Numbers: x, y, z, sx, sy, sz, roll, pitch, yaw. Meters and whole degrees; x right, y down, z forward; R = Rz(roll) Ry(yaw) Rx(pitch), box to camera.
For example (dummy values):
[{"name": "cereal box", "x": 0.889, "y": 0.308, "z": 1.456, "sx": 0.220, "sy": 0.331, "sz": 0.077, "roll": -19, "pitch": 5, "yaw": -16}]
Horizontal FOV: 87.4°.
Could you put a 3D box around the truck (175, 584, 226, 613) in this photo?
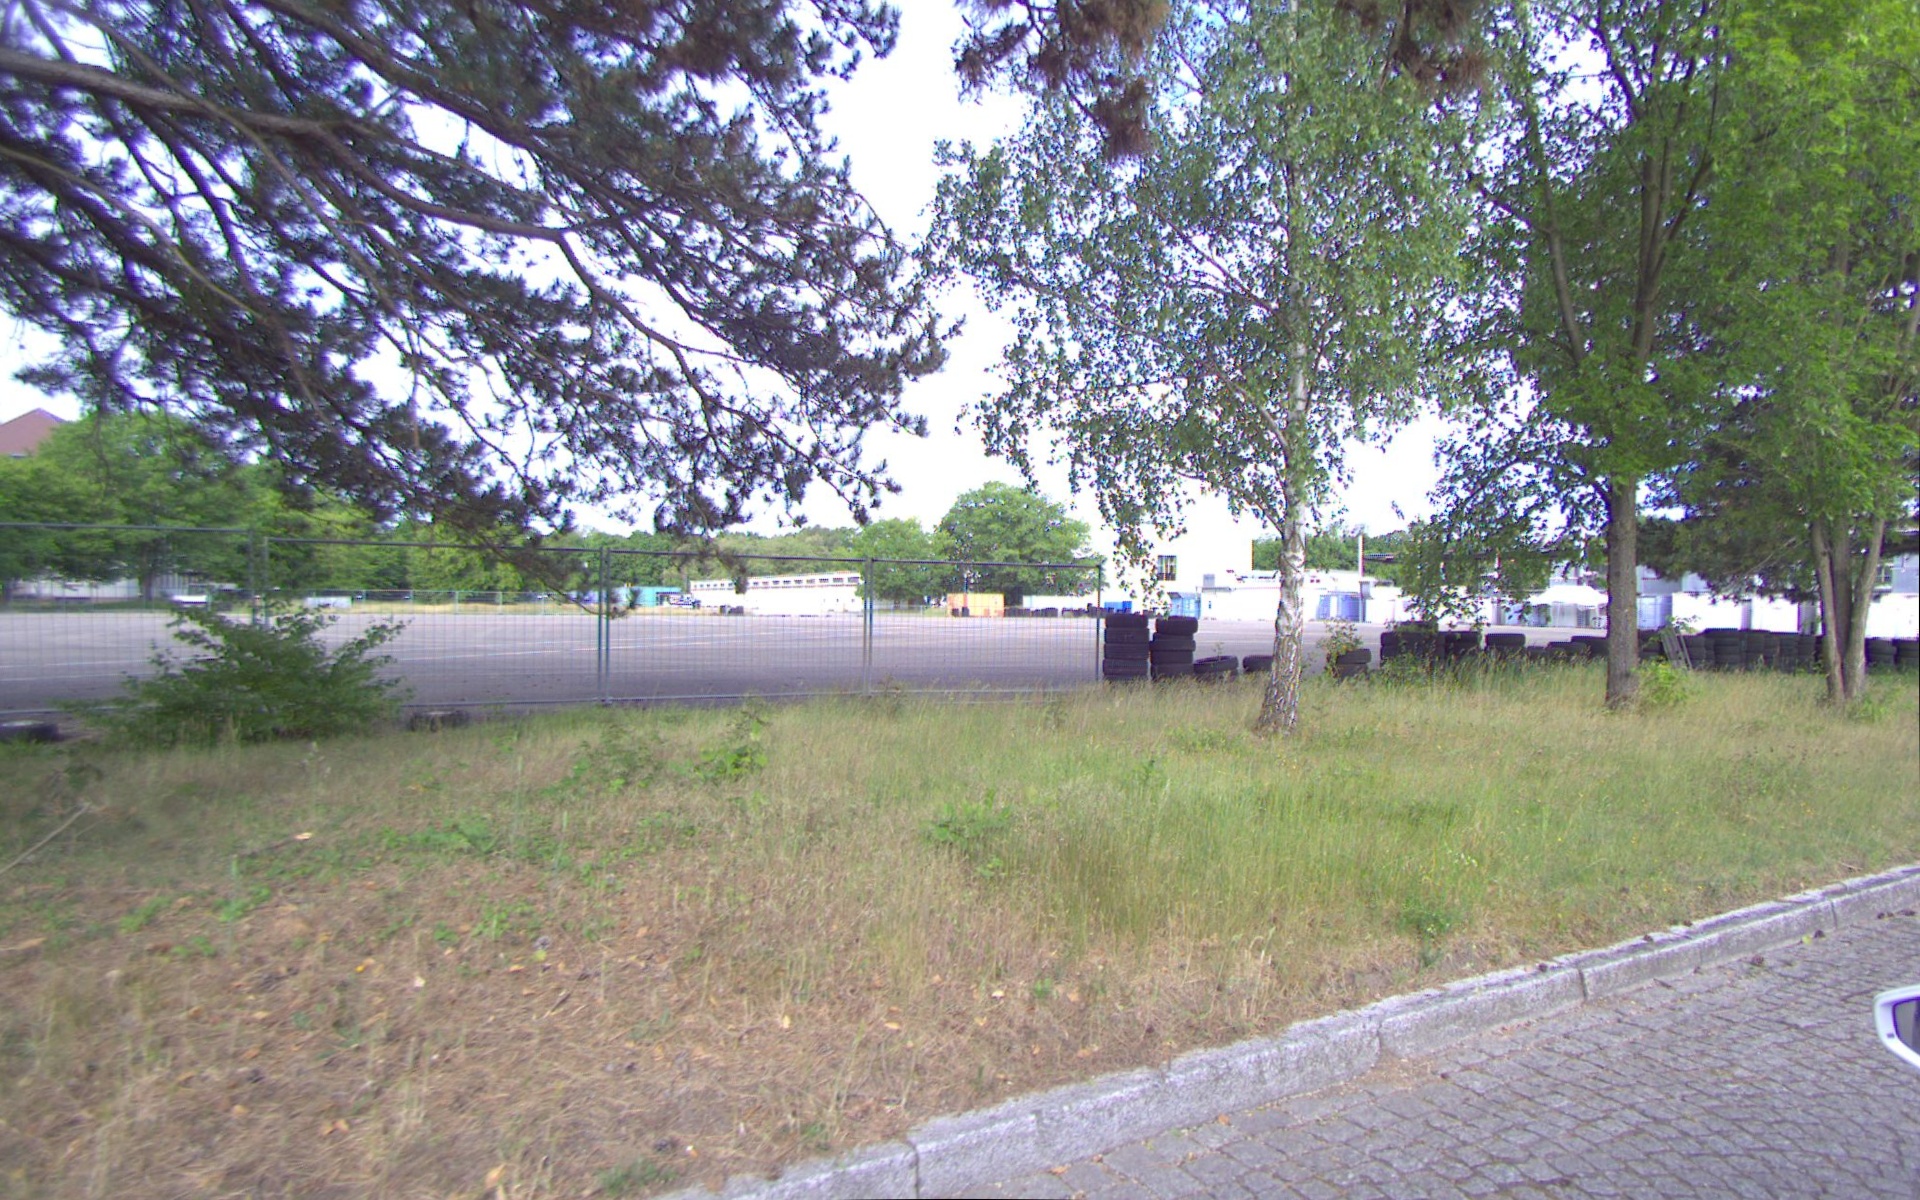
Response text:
[{"name": "truck", "x": -62.041, "y": -0.121, "z": 82.189, "sx": 2.345, "sy": 2.227, "sz": 6.506, "roll": 1, "pitch": 0, "yaw": -28}]

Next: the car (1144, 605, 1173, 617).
[{"name": "car", "x": 25.830, "y": 1.411, "z": 130.821, "sx": 1.611, "sy": 1.553, "sz": 3.947, "roll": 1, "pitch": 0, "yaw": -30}]
